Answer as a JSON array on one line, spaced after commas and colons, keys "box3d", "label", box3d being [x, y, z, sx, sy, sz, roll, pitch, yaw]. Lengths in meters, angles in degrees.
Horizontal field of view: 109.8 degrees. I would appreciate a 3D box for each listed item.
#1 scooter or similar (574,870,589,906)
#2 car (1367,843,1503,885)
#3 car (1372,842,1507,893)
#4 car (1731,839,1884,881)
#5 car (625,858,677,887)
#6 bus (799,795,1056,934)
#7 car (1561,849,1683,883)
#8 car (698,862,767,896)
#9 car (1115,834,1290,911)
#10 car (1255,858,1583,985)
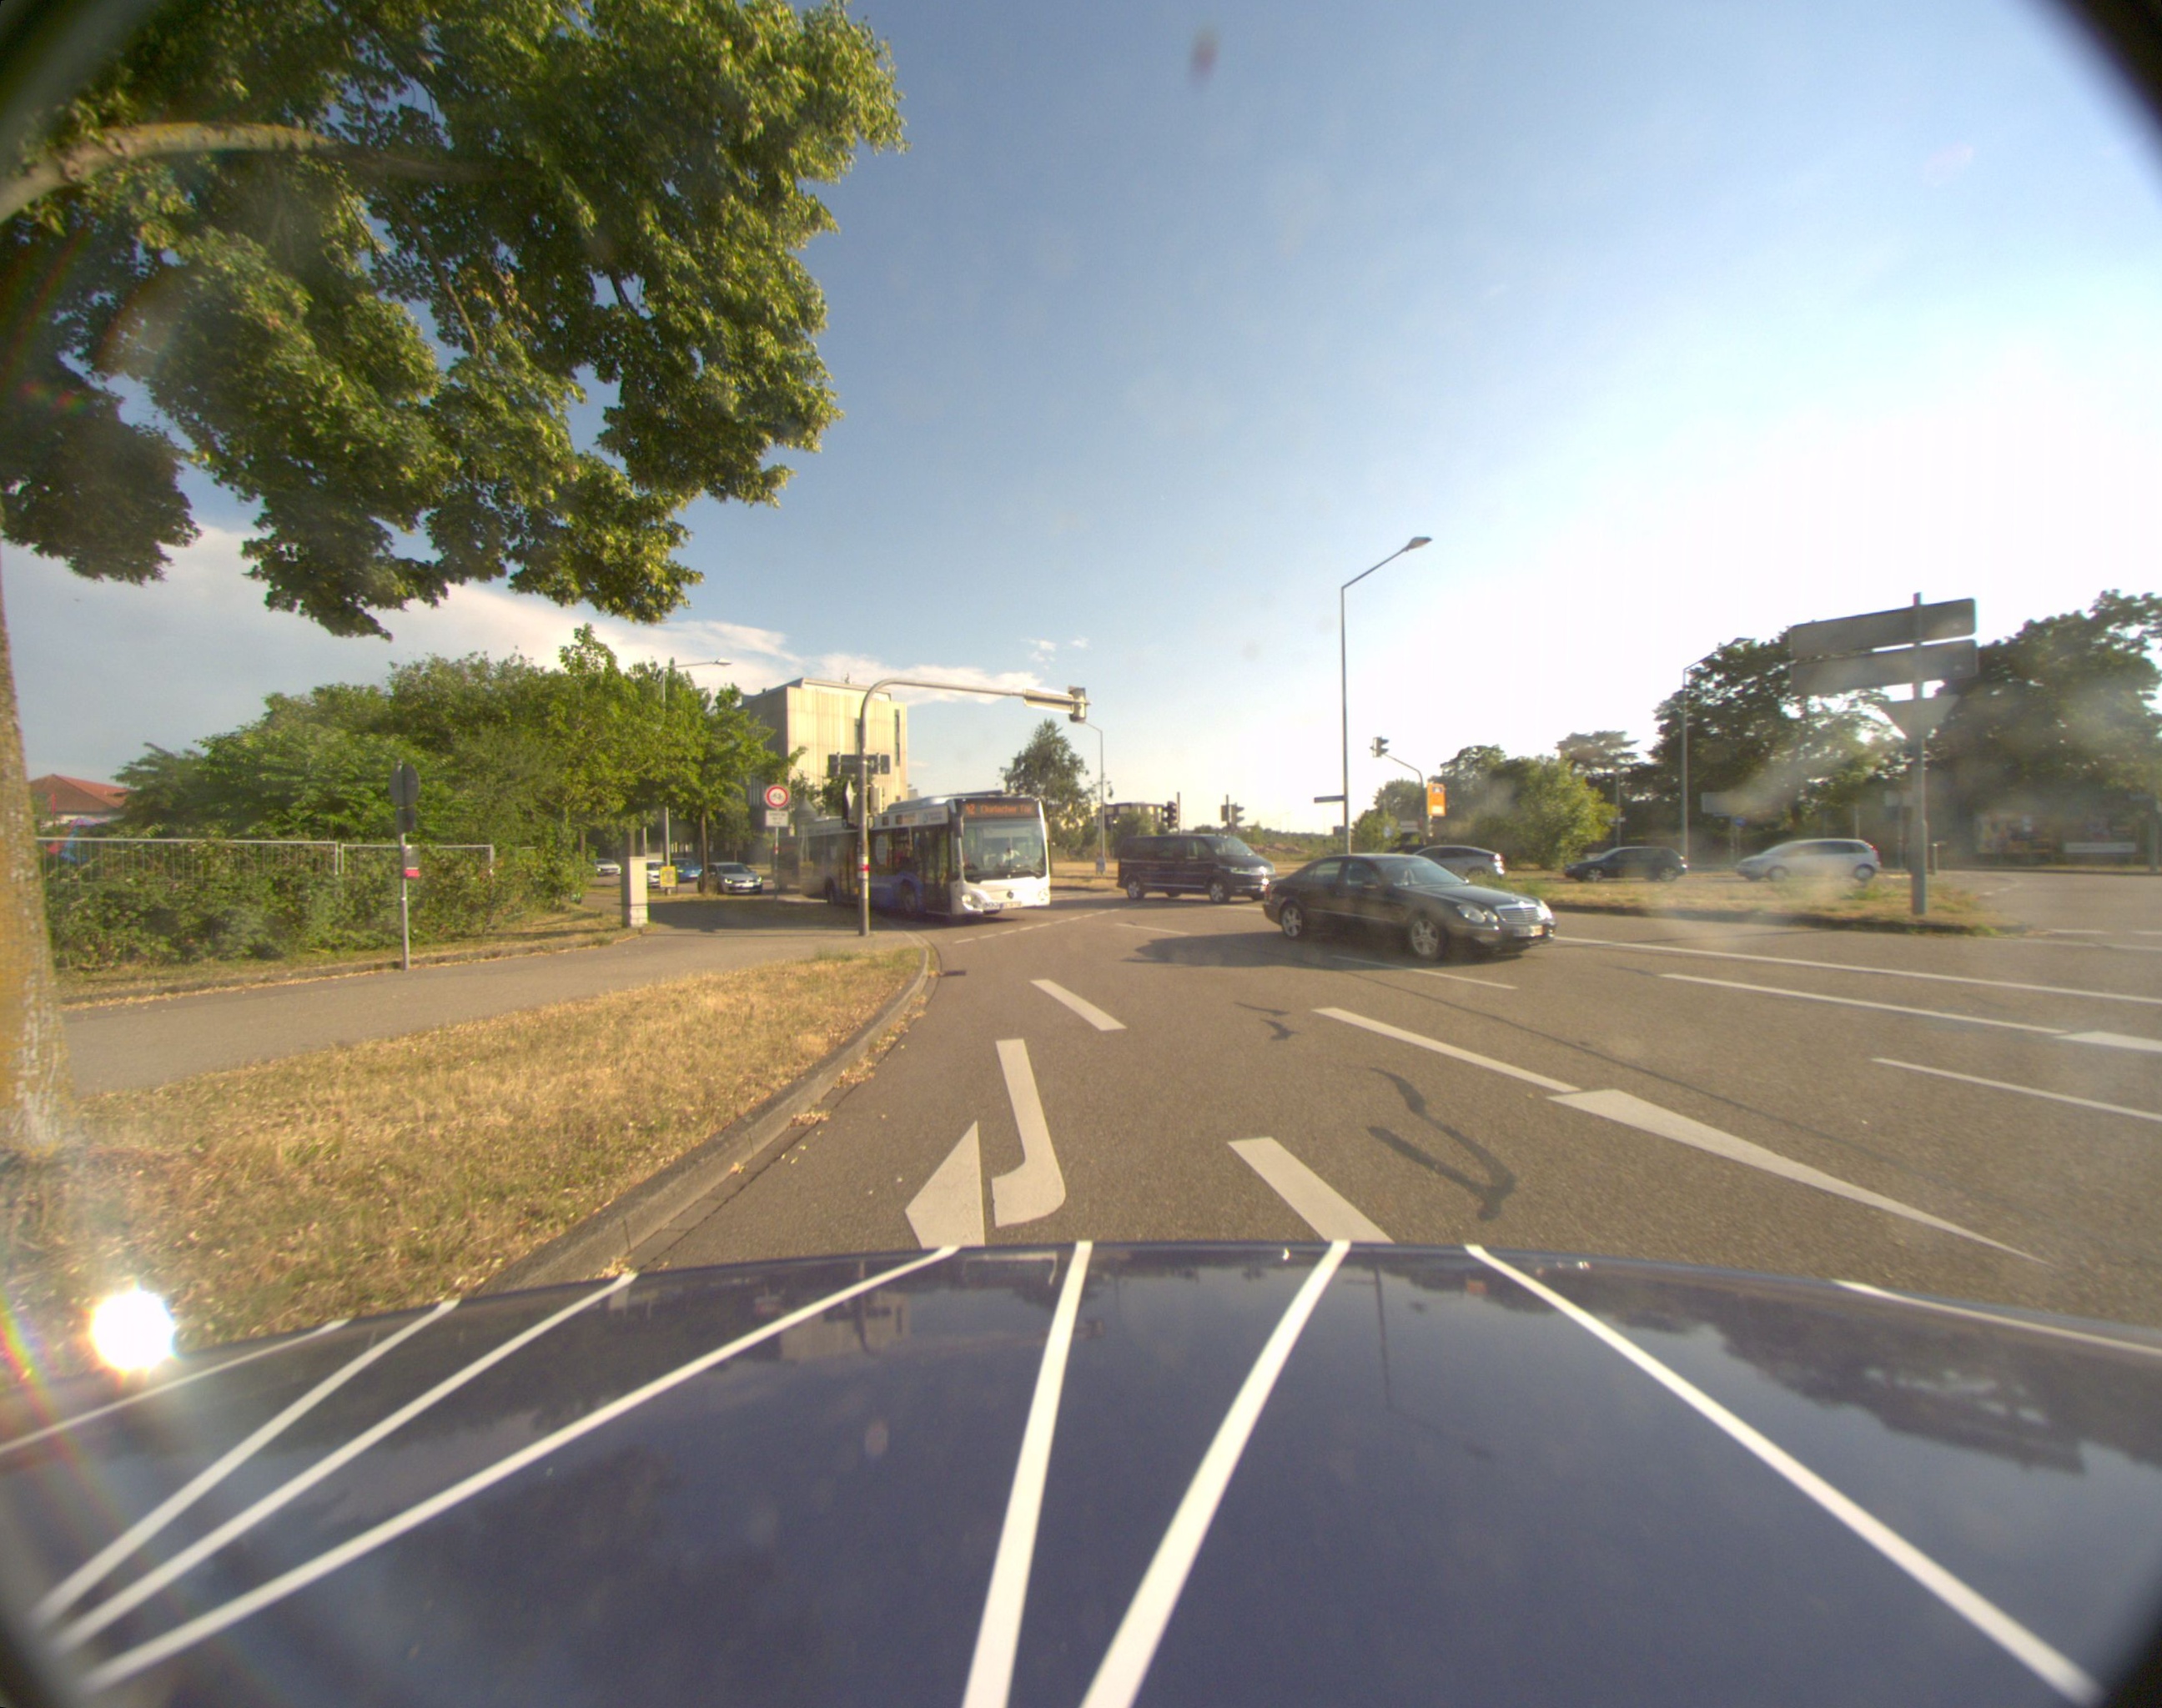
[{"box3d": [-15.841, 1.074, 24.075, 0.250, 1.119, 1.092, 2, -1, -40], "label": "scooter or similar"}, {"box3d": [13.563, 0.403, 29.410, 4.634, 1.504, 1.655, -1, 0, 21], "label": "car"}, {"box3d": [12.692, 0.469, 26.954, 4.188, 1.663, 1.779, -1, 1, 30], "label": "car"}, {"box3d": [27.944, 0.232, 29.365, 3.936, 1.516, 1.658, -1, 1, 16], "label": "car"}, {"box3d": [-24.623, 1.056, 43.444, 3.617, 1.553, 1.589, -1, 1, 44], "label": "car"}, {"box3d": [-5.101, 0.202, 21.949, 2.601, 3.025, 11.688, -3, 2, -36], "label": "bus"}, {"box3d": [22.079, 0.481, 31.159, 3.822, 1.341, 1.483, -1, 1, 18], "label": "car"}, {"box3d": [-15.723, 1.076, 34.169, 3.617, 1.415, 1.589, -1, 1, 44], "label": "car"}, {"box3d": [3.394, 0.460, 22.138, 1.865, 1.921, 4.999, -4, 2, -40], "label": "car"}, {"box3d": [4.788, 0.830, 11.572, 1.813, 1.428, 4.484, -2, 1, -24], "label": "car"}]
